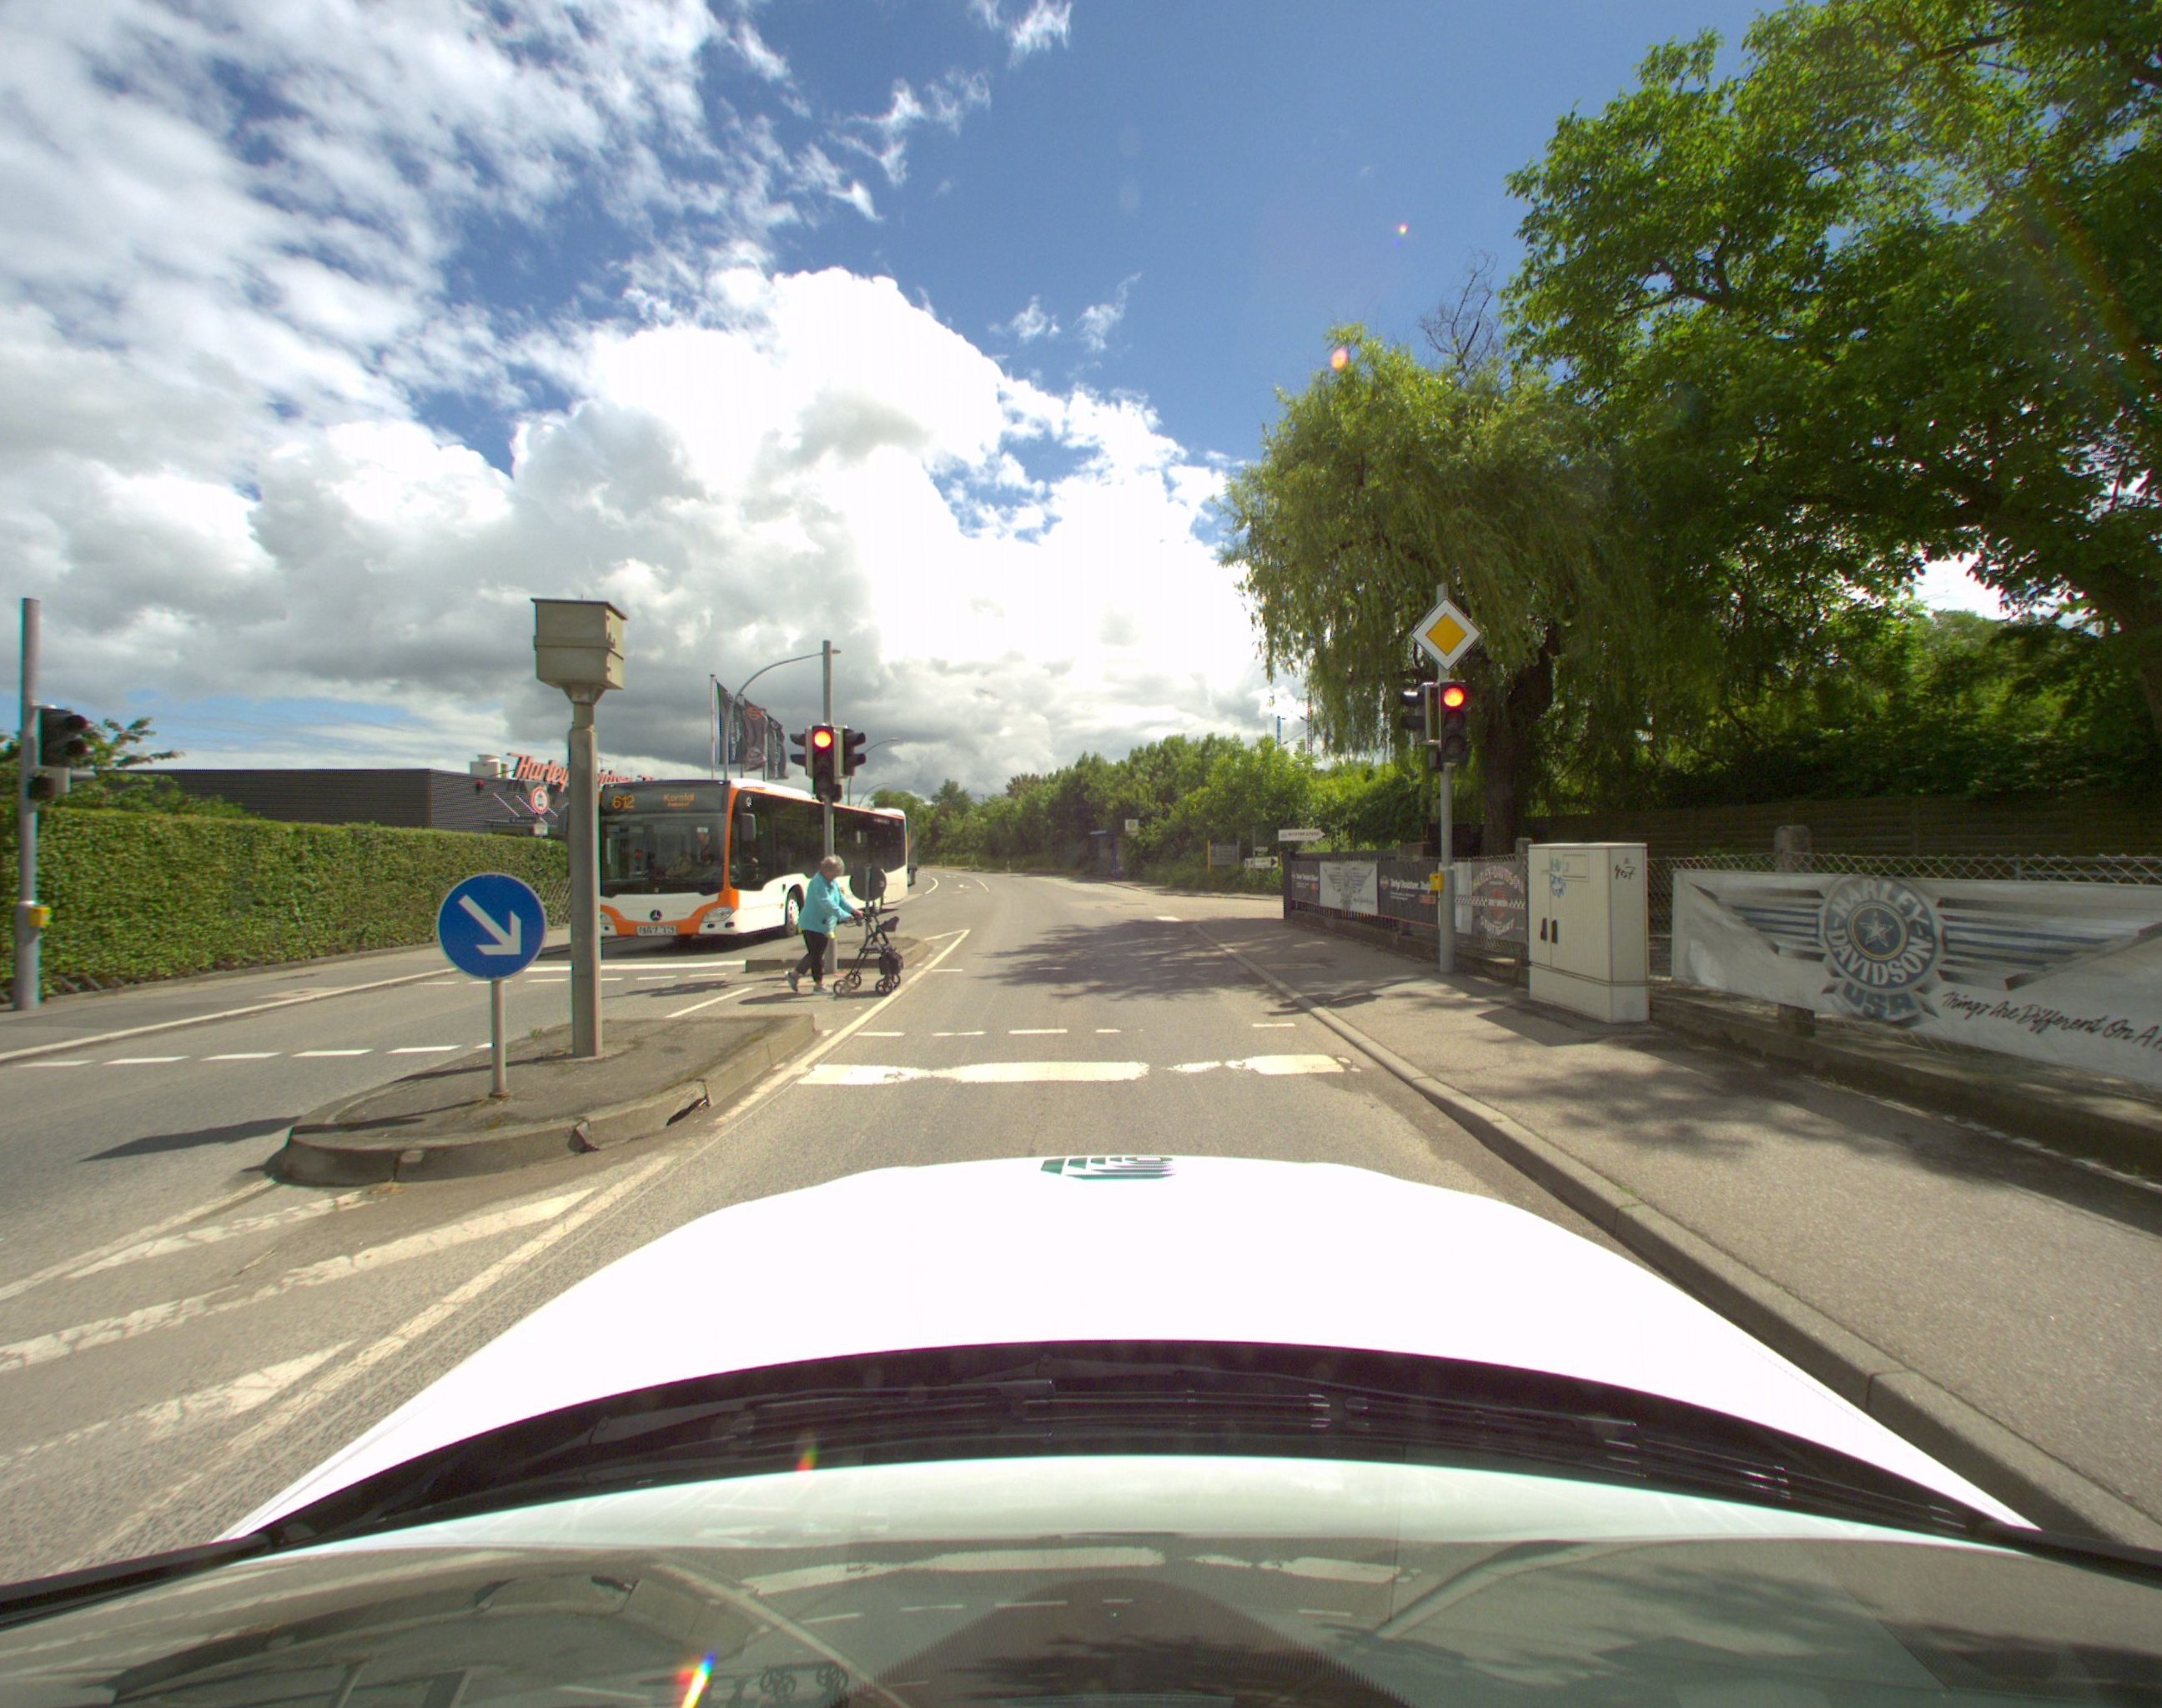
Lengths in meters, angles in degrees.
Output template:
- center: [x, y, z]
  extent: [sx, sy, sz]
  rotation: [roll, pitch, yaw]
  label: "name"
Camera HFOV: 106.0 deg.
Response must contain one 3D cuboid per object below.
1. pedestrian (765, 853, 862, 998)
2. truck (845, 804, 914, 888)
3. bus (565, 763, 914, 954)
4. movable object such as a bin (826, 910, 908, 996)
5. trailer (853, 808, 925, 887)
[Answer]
- center: [-2.943, 0.762, 9.038]
  extent: [0.836, 1.543, 0.733]
  rotation: [0, -1, -2]
  label: "pedestrian"
- center: [-10.434, -0.352, 42.769]
  extent: [2.797, 4.053, 6.483]
  rotation: [0, -1, -8]
  label: "truck"
- center: [-6.814, 0.122, 19.363]
  extent: [2.708, 3.031, 12.270]
  rotation: [-2, -1, 2]
  label: "bus"
- center: [-2.359, 1.084, 9.049]
  extent: [0.744, 0.871, 0.670]
  rotation: [0, -1, -2]
  label: "movable object such as a bin"
- center: [-11.318, -0.291, 49.535]
  extent: [2.797, 4.053, 15.513]
  rotation: [0, 0, -8]
  label: "trailer"
